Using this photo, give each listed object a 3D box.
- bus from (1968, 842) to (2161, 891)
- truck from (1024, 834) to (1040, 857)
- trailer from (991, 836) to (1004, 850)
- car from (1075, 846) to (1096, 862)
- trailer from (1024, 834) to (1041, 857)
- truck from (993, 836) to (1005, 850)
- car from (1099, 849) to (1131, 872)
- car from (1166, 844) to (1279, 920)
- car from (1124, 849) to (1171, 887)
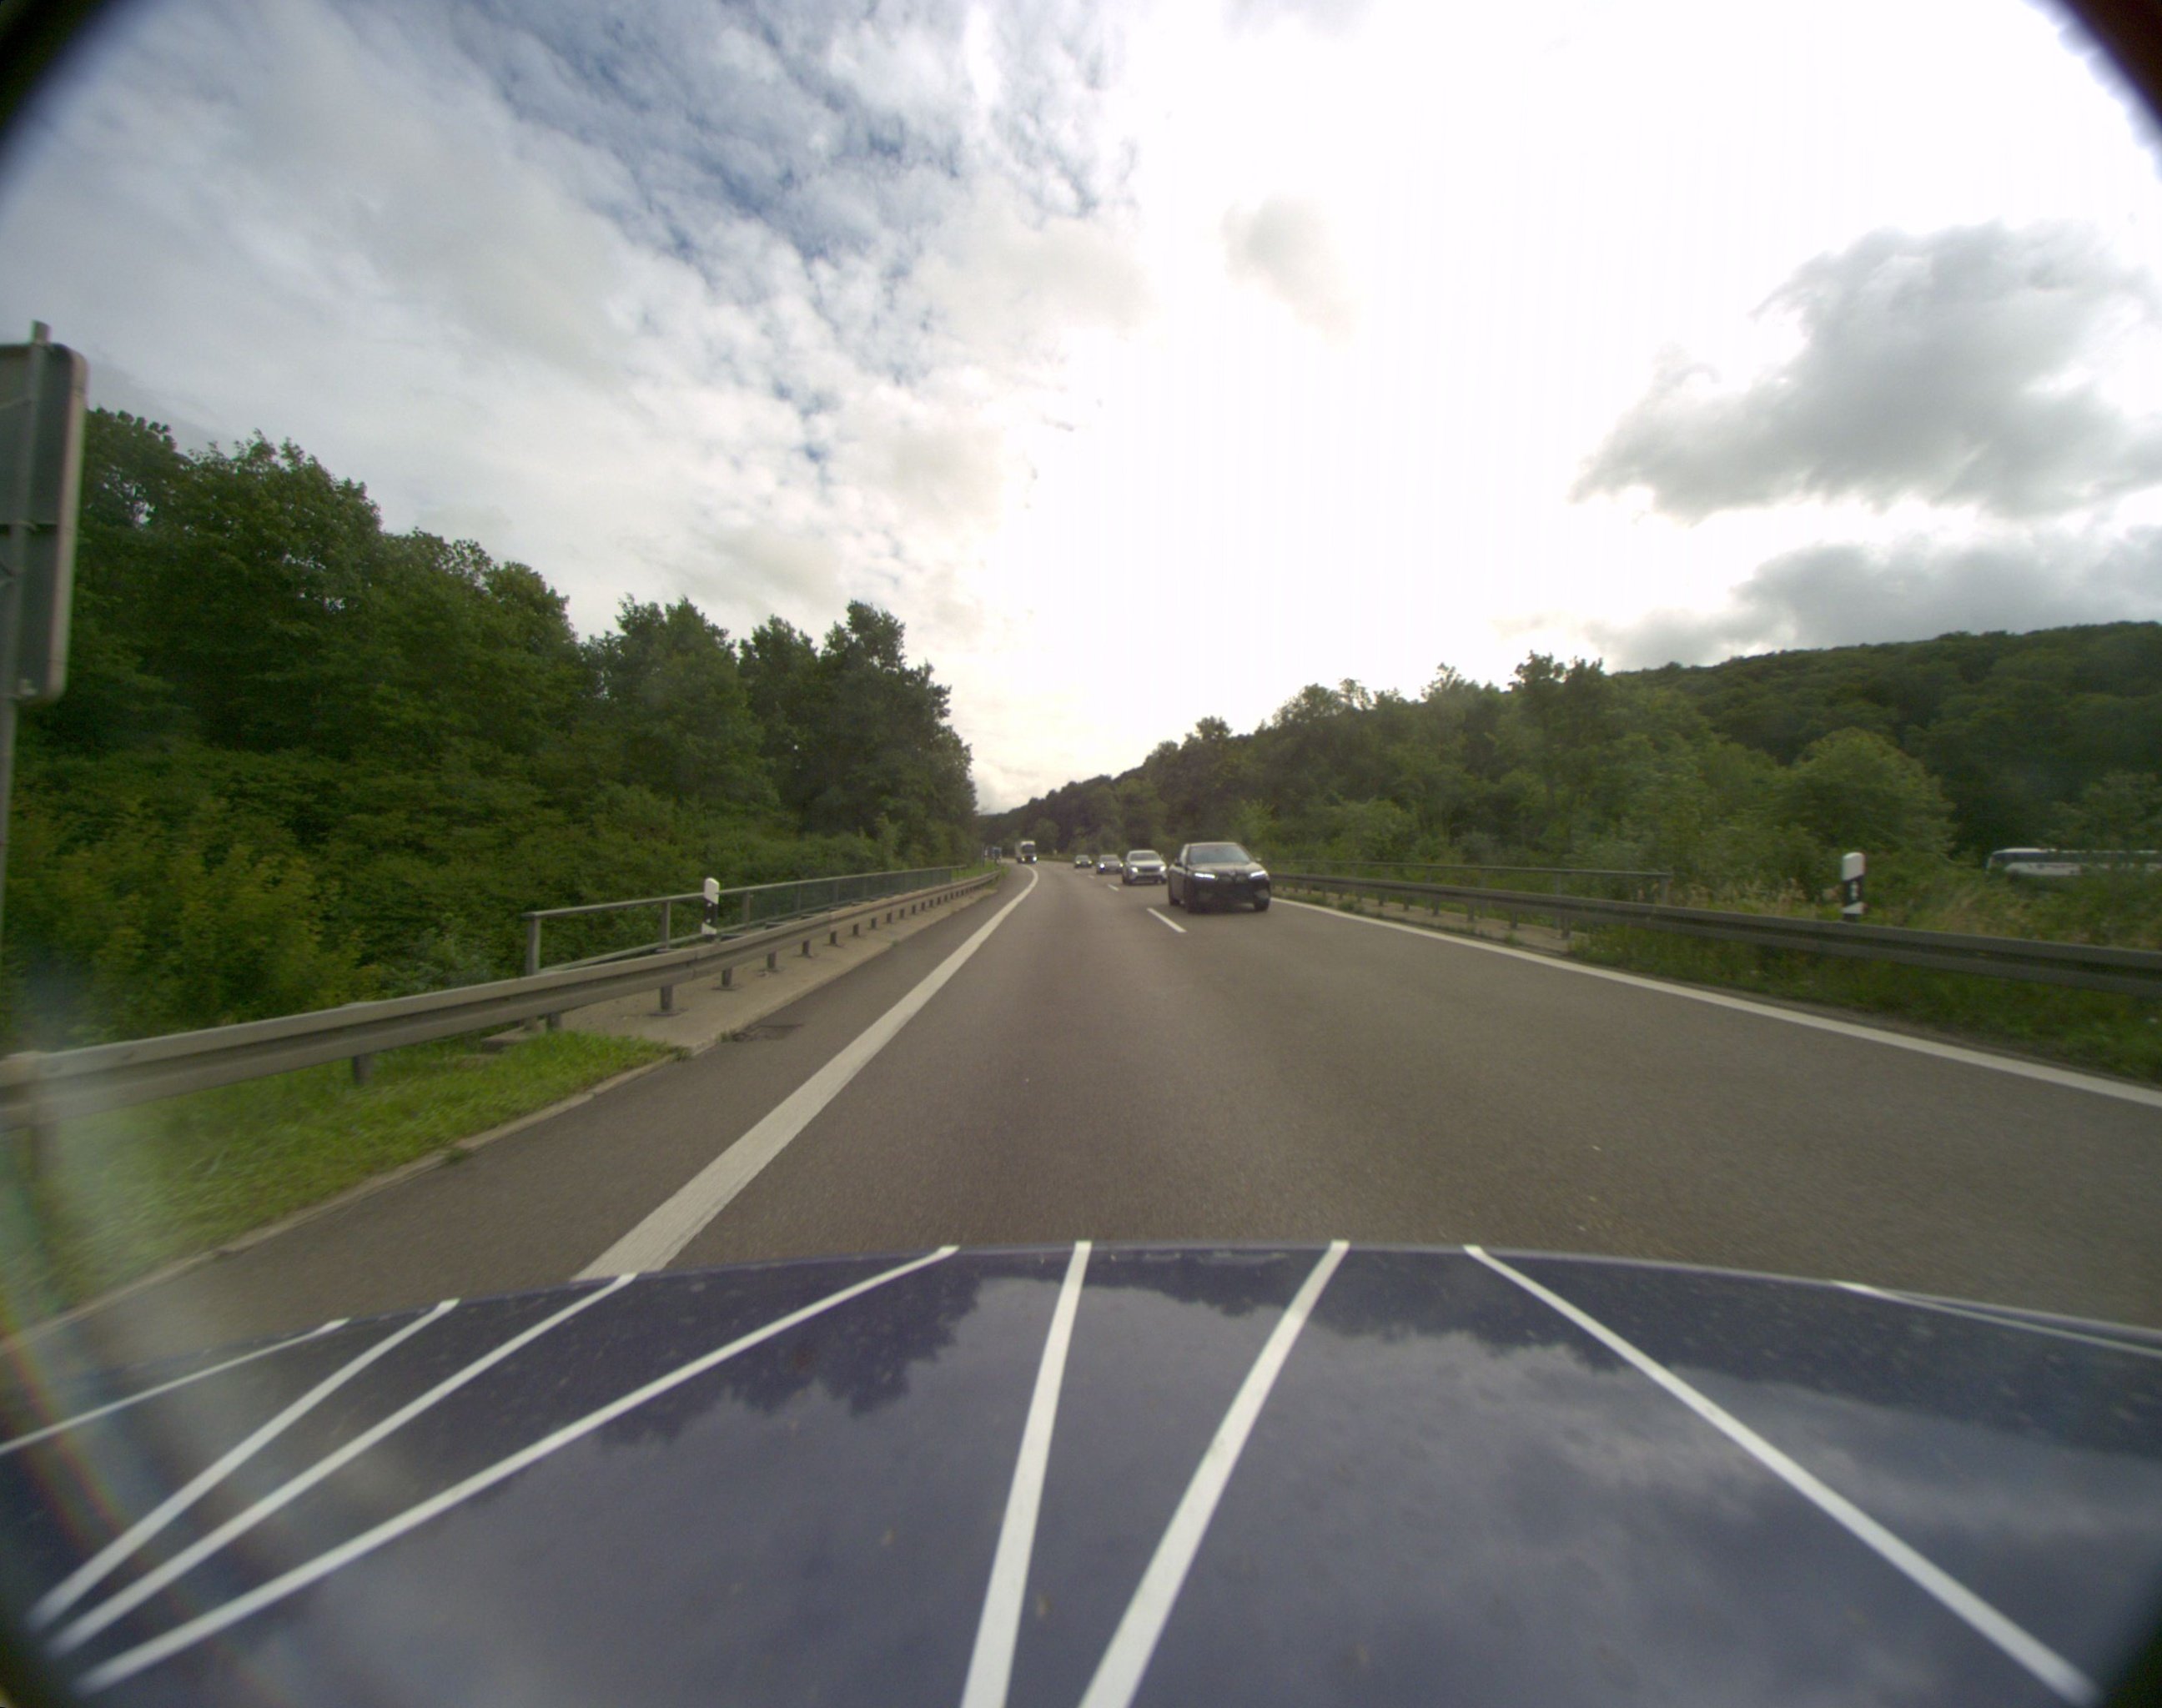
[{"bbox_3d":[107.386,1.229,79.829,5.594,4.910,18.257,1,0,-39],"label":"bus"},{"bbox_3d":[-8.734,-1.565,136.184,2.796,3.949,5.937,-1,1,-2],"label":"truck"},{"bbox_3d":[-24.870,-3.331,225.347,2.789,3.932,11.282,-2,1,-12],"label":"trailer"},{"bbox_3d":[0.443,-0.039,87.067,1.999,1.656,4.411,-1,2,-5],"label":"car"},{"bbox_3d":[-8.981,-1.616,141.307,2.787,3.932,11.291,-1,1,-3],"label":"trailer"},{"bbox_3d":[-23.462,-3.254,218.252,2.798,3.949,5.933,-1,1,-12],"label":"truck"},{"bbox_3d":[2.606,0.454,59.168,1.999,1.656,4.413,-1,1,-3],"label":"car"},{"bbox_3d":[3.469,0.642,19.483,1.999,1.656,4.415,-2,0,0],"label":"car"},{"bbox_3d":[3.217,0.647,37.540,1.998,1.656,4.414,-1,1,1],"label":"car"}]
